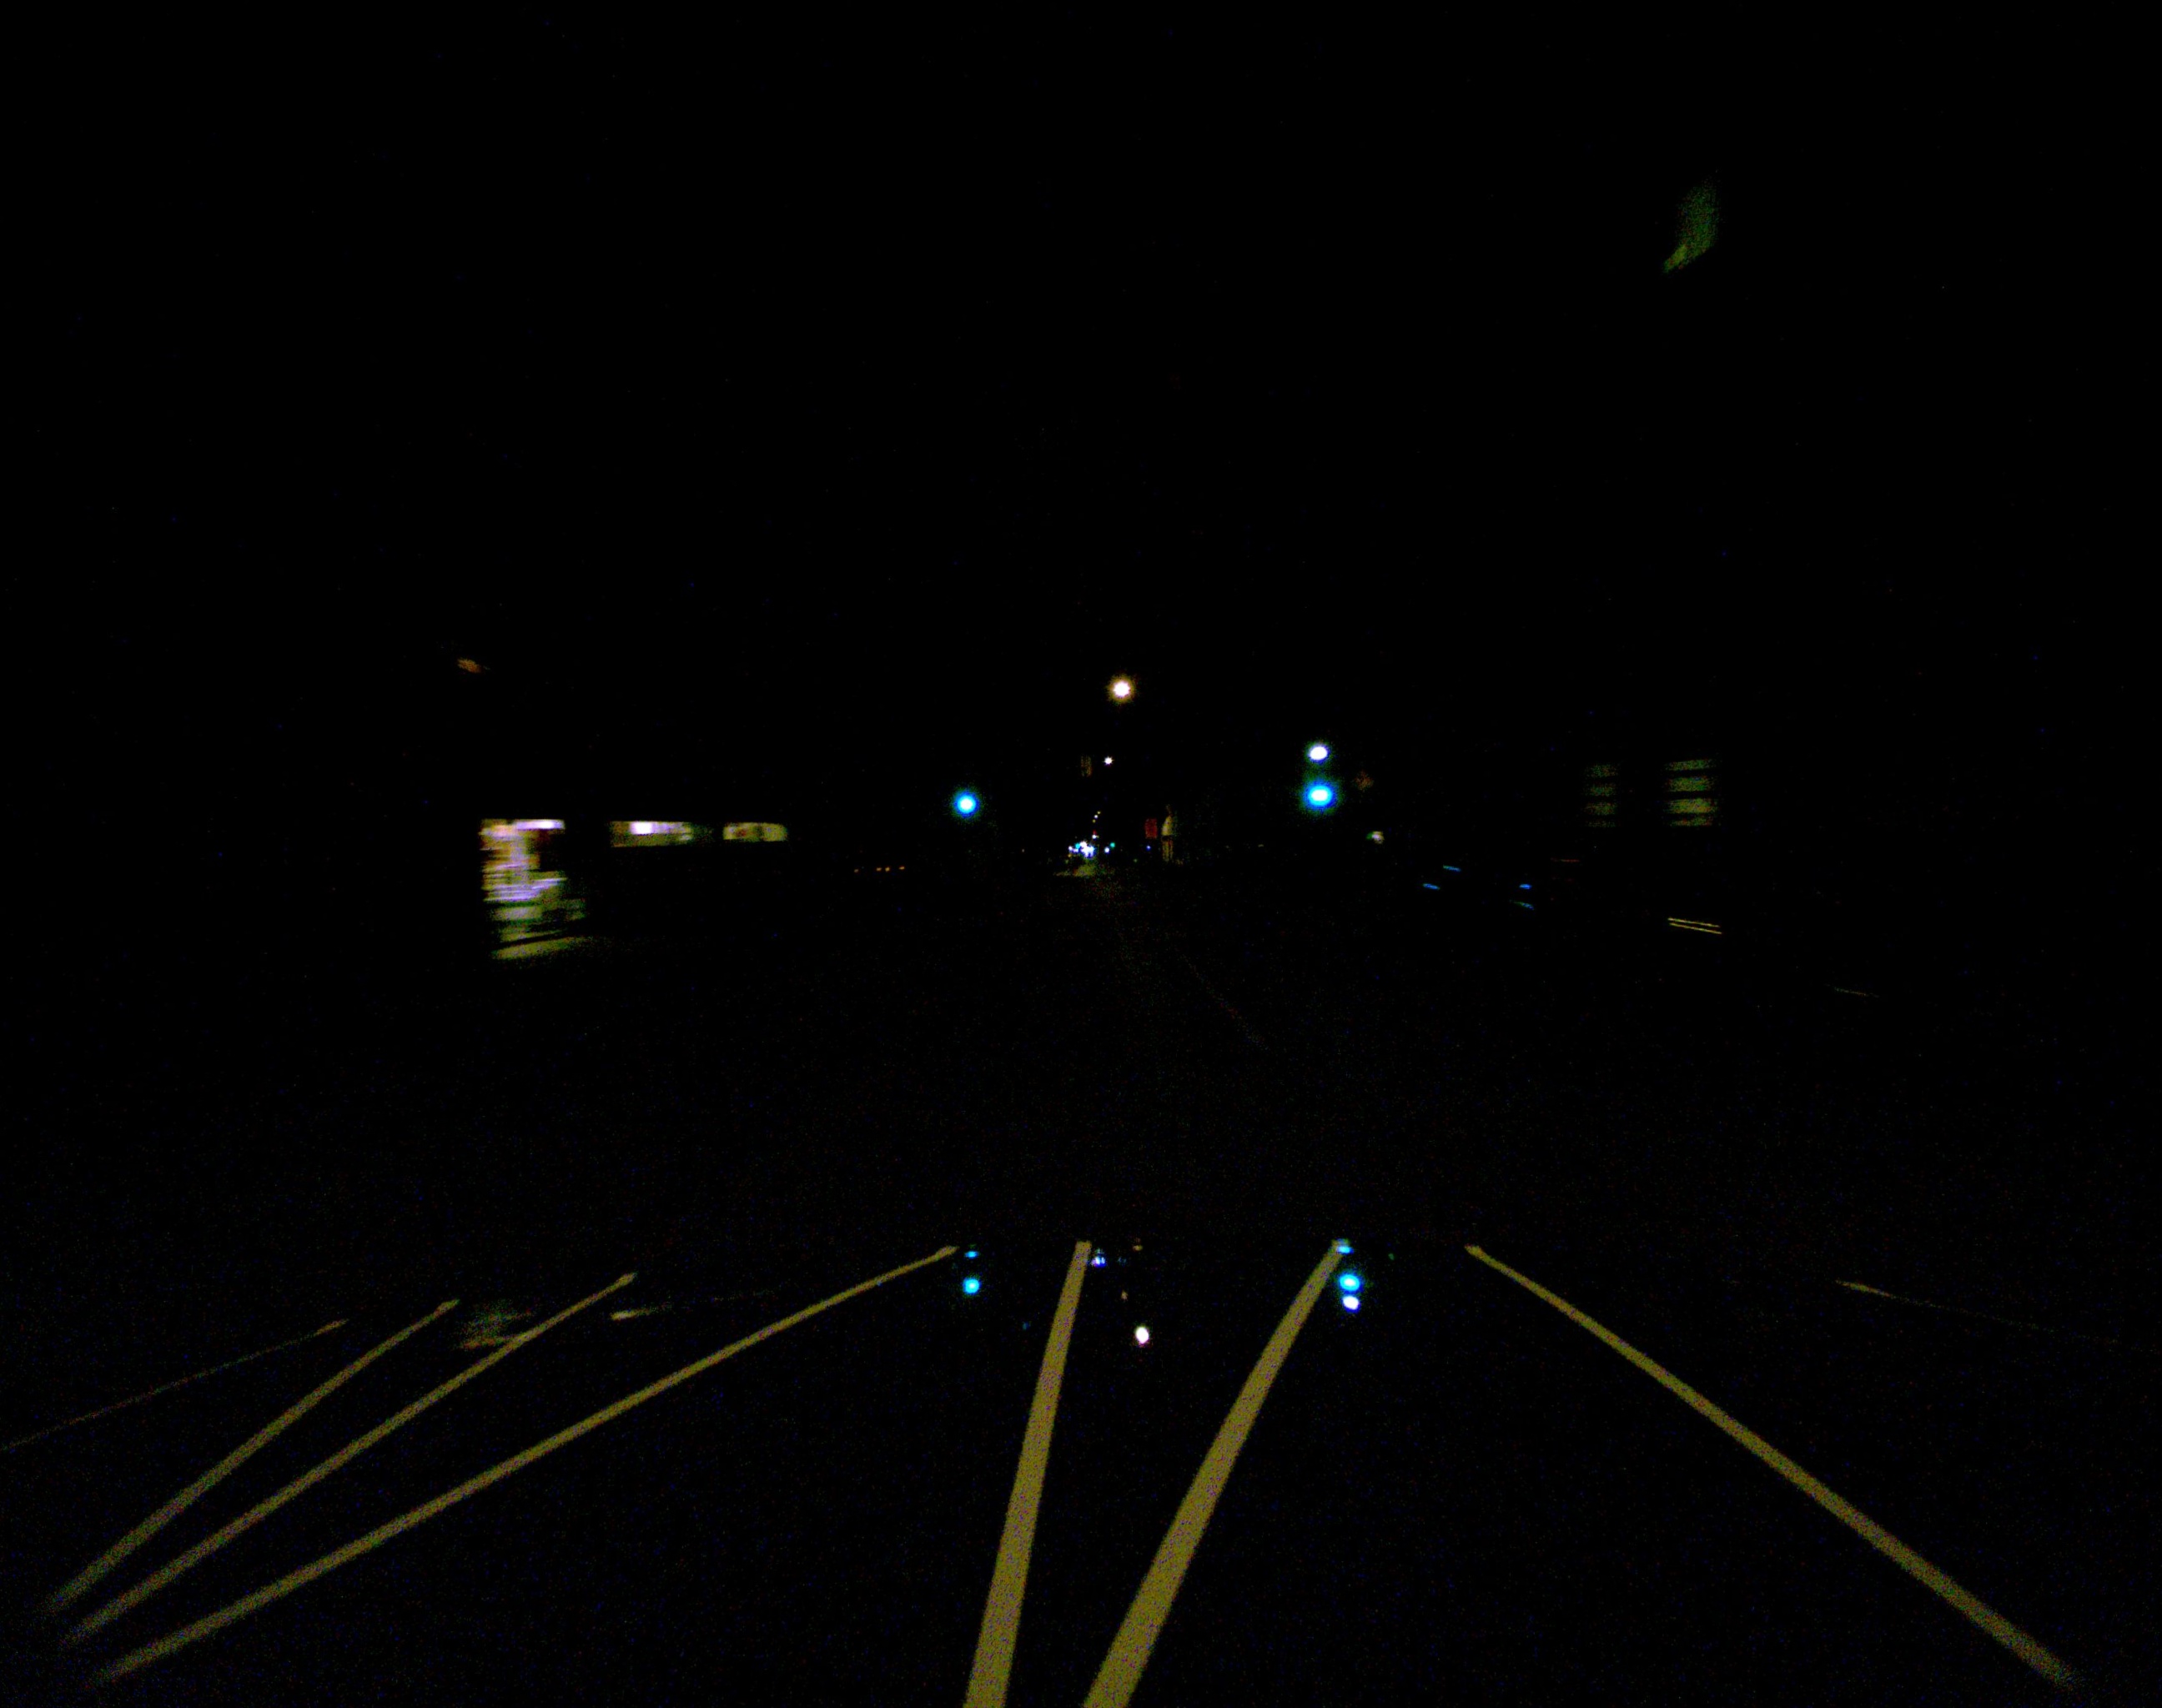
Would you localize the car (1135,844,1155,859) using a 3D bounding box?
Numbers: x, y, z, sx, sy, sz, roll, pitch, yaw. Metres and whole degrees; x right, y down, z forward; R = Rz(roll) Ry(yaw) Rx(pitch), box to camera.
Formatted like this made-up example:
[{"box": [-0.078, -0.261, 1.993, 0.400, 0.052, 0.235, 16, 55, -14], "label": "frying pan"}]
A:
[{"box": [6.752, -0.255, 80.881, 1.731, 1.477, 4.291, -3, 0, 0], "label": "car"}]

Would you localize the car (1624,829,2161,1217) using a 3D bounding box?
[{"box": [5.553, 0.717, 3.991, 1.853, 1.640, 4.670, -3, 0, -3], "label": "car"}]

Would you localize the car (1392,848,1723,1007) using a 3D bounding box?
[{"box": [5.566, 0.723, 9.499, 1.652, 1.506, 3.700, -3, 1, -3], "label": "car"}]

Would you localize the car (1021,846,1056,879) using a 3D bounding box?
[{"box": [-2.522, 0.467, 46.165, 1.916, 1.816, 4.899, -2, 0, -2], "label": "car"}]

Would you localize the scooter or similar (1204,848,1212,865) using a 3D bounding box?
[{"box": [9.248, 0.167, 55.408, 0.332, 1.218, 1.335, -3, 1, 3], "label": "scooter or similar"}]
